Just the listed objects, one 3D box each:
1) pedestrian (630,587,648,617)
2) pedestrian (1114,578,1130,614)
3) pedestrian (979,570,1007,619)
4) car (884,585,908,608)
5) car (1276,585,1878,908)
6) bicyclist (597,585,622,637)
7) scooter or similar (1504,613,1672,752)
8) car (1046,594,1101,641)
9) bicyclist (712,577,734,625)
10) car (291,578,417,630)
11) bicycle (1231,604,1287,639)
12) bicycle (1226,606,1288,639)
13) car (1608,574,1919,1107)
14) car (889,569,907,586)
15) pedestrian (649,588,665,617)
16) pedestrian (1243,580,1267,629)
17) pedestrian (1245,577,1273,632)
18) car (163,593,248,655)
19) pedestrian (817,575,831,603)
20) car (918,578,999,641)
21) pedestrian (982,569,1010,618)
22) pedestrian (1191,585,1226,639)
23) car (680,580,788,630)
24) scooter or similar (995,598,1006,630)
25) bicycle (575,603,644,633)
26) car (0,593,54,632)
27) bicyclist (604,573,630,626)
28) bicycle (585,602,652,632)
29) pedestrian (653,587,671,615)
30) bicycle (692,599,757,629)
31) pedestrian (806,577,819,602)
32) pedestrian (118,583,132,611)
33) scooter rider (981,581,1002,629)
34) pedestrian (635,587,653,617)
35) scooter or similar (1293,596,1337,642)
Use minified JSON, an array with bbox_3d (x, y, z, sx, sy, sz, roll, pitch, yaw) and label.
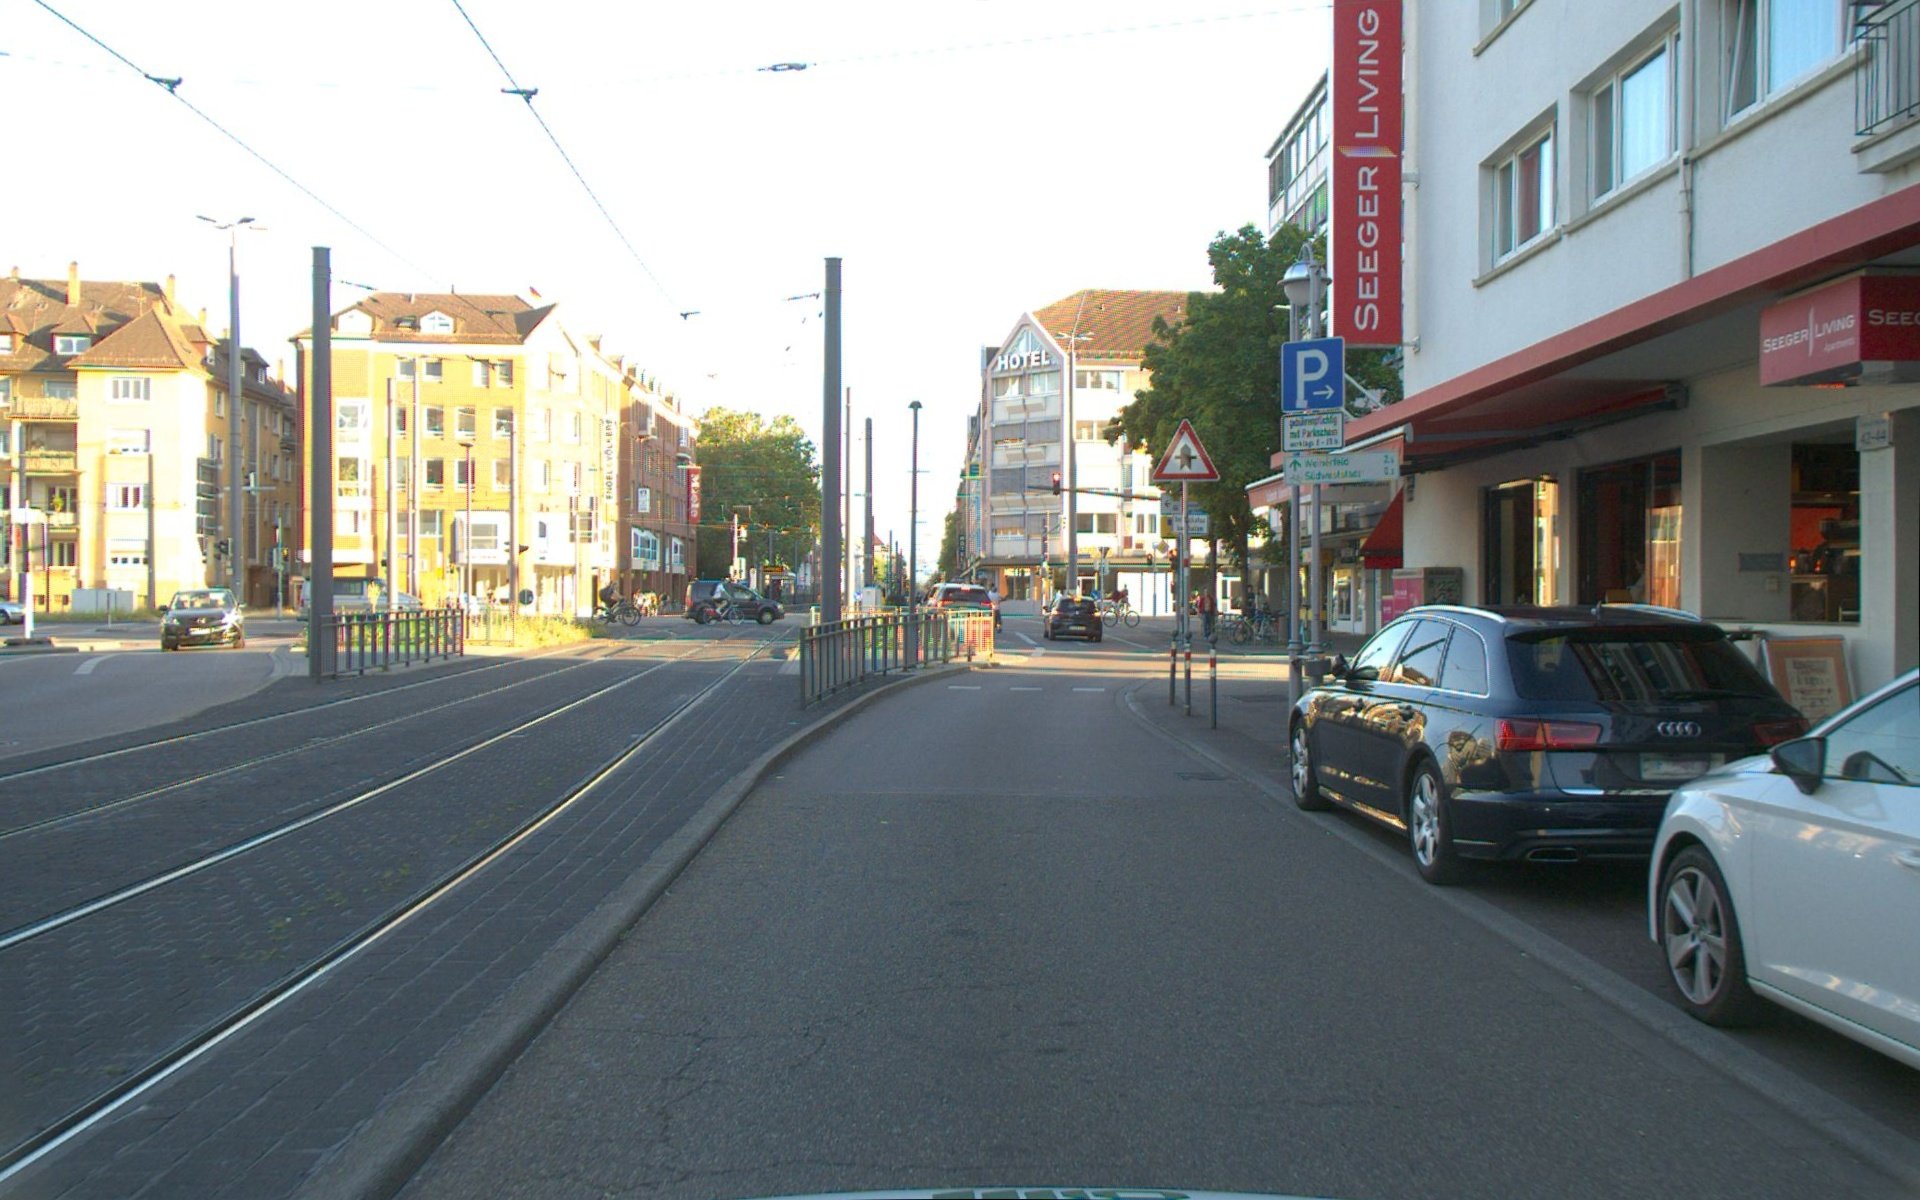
[{"bbox_3d":[-22.585,0.131,116.526,1.071,2.049,0.908,2,0,-4],"label":"pedestrian"},{"bbox_3d":[8.336,-0.199,85.077,0.731,1.809,0.800,2,-1,1],"label":"pedestrian"},{"bbox_3d":[1.279,-0.221,64.540,0.975,1.862,0.728,2,0,-3],"label":"pedestrian"},{"bbox_3d":[-5.209,-0.279,134.518,1.774,1.777,3.715,2,0,0],"label":"car"},{"bbox_3d":[3.296,0.679,9.957,1.754,1.437,4.686,2,0,-1],"label":"car"},{"bbox_3d":[-14.003,0.427,66.112,0.848,2.049,0.642,2,0,-22],"label":"bicyclist"},{"bbox_3d":[5.747,0.732,15.187,1.413,1.215,0.333,0,1,43],"label":"scooter or similar"},{"bbox_3d":[3.721,0.543,54.124,1.727,1.465,4.002,0,1,4],"label":"car"},{"bbox_3d":[-9.619,0.057,67.134,0.844,1.911,0.645,2,0,-8],"label":"bicyclist"},{"bbox_3d":[-24.575,0.138,67.270,4.604,2.049,1.993,0,0,-14],"label":"car"},{"bbox_3d":[9.103,0.655,50.425,1.622,0.991,0.386,2,0,6],"label":"bicycle"},{"bbox_3d":[8.884,0.671,49.469,1.779,0.907,0.415,2,0,6],"label":"bicycle"},{"bbox_3d":[3.431,0.677,4.487,1.618,1.445,4.190,2,0,-1],"label":"car"},{"bbox_3d":[-7.553,-2.755,200.649,1.953,1.934,4.000,2,0,0],"label":"car"},{"bbox_3d":[-21.417,0.176,116.973,0.957,2.049,0.908,2,0,-4],"label":"pedestrian"},{"bbox_3d":[10.971,0.170,61.622,0.731,1.809,0.800,2,-1,2],"label":"pedestrian"},{"bbox_3d":[10.061,0.140,55.625,0.731,1.809,0.973,2,-1,0],"label":"pedestrian"},{"bbox_3d":[-17.934,0.530,39.362,1.744,1.400,4.190,0,0,-24],"label":"car"},{"bbox_3d":[-9.403,-0.751,114.409,0.788,1.855,0.703,2,0,1],"label":"pedestrian"},{"bbox_3d":[-0.092,0.253,46.682,1.800,1.665,4.084,1,0,-7],"label":"car"},{"bbox_3d":[1.375,-0.241,63.768,0.975,1.862,0.728,2,0,-5],"label":"pedestrian"},{"bbox_3d":[8.099,0.393,54.033,0.808,1.714,1.046,2,0,-10],"label":"pedestrian"},{"bbox_3d":[-9.761,0.197,71.395,4.482,2.072,1.993,0,0,-14],"label":"car"},{"bbox_3d":[1.453,0.495,59.306,0.273,1.110,1.258,2,0,5],"label":"scooter or similar"},{"bbox_3d":[-13.831,0.699,65.227,2.602,1.119,0.433,2,0,-21],"label":"bicycle"},{"bbox_3d":[-40.090,0.501,68.276,4.257,1.578,1.996,1,0,-9],"label":"car"},{"bbox_3d":[-13.561,-0.008,65.380,0.848,2.049,0.643,2,0,-21],"label":"bicyclist"},{"bbox_3d":[-13.700,0.688,66.368,2.602,1.119,0.433,2,0,-21],"label":"bicycle"},{"bbox_3d":[-21.855,0.065,121.369,1.071,2.049,1.162,2,0,-4],"label":"pedestrian"},{"bbox_3d":[-9.562,0.573,67.164,2.590,1.119,0.435,2,0,-7],"label":"bicycle"},{"bbox_3d":[-10.127,-0.702,113.636,0.789,1.693,0.703,2,0,0],"label":"pedestrian"},{"bbox_3d":[-50.980,-0.190,101.007,0.539,1.671,0.500,2,0,-3],"label":"pedestrian"},{"bbox_3d":[1.132,0.178,59.203,0.648,1.676,0.661,2,0,7],"label":"scooter rider"},{"bbox_3d":[-22.543,0.142,118.044,1.071,2.049,0.908,2,0,-4],"label":"pedestrian"},{"bbox_3d":[9.626,0.521,44.870,0.292,1.239,1.201,2,-2,-45],"label":"scooter or similar"}]
